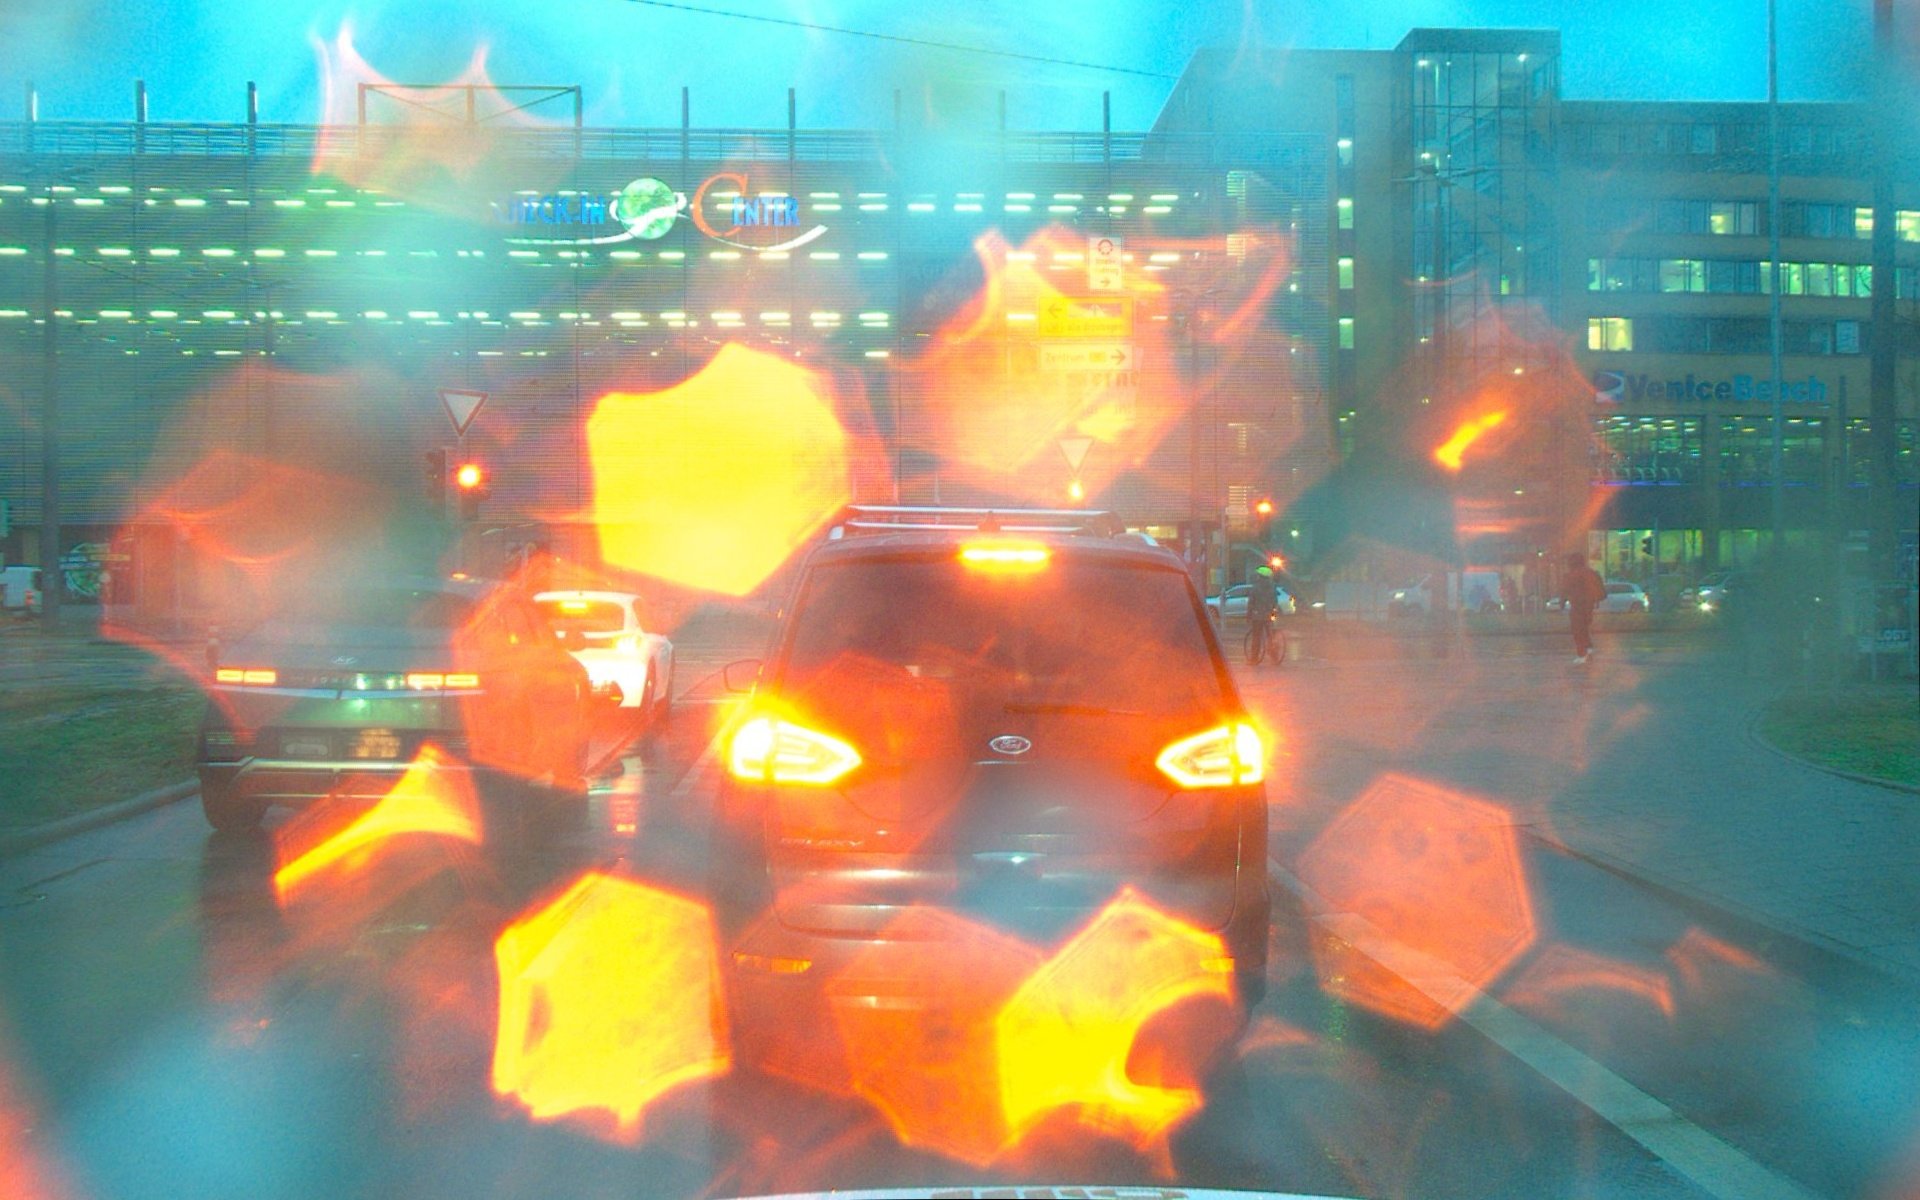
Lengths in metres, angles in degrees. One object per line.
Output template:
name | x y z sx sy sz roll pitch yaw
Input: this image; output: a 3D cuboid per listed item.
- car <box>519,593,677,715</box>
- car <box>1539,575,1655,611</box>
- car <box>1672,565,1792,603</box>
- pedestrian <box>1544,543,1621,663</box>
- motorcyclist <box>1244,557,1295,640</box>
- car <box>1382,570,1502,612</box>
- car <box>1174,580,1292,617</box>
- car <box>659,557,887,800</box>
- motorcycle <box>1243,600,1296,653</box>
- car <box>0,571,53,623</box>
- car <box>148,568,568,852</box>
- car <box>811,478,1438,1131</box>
car | -4.155 0.558 19.447 1.512 1.273 4.060 0 0 -8
car | 26.460 -0.291 68.754 4.136 1.414 1.797 -1 0 -8
car | 32.651 -0.671 70.002 4.348 1.561 1.797 -1 0 -8
pedestrian | 10.550 0.040 28.021 1.146 1.957 0.898 2 0 22
motorcyclist | 5.931 -0.039 31.755 0.850 1.561 1.109 0 0 5
car | 19.587 -0.372 67.303 4.336 1.623 1.797 -1 0 -8
car | 10.960 -0.062 66.547 4.336 1.414 1.797 -1 0 -8
car | -1.493 0.567 13.661 1.604 1.726 3.667 1 0 -5
motorcycle | 5.929 0.496 31.740 0.835 0.989 1.582 0 0 5
car | -38.872 -0.108 65.553 4.747 2.035 1.797 -1 0 -8
car | -3.900 0.617 11.441 1.718 1.601 3.996 0 0 -5
car | 0.360 0.560 6.719 1.700 1.768 4.244 2 0 -3
